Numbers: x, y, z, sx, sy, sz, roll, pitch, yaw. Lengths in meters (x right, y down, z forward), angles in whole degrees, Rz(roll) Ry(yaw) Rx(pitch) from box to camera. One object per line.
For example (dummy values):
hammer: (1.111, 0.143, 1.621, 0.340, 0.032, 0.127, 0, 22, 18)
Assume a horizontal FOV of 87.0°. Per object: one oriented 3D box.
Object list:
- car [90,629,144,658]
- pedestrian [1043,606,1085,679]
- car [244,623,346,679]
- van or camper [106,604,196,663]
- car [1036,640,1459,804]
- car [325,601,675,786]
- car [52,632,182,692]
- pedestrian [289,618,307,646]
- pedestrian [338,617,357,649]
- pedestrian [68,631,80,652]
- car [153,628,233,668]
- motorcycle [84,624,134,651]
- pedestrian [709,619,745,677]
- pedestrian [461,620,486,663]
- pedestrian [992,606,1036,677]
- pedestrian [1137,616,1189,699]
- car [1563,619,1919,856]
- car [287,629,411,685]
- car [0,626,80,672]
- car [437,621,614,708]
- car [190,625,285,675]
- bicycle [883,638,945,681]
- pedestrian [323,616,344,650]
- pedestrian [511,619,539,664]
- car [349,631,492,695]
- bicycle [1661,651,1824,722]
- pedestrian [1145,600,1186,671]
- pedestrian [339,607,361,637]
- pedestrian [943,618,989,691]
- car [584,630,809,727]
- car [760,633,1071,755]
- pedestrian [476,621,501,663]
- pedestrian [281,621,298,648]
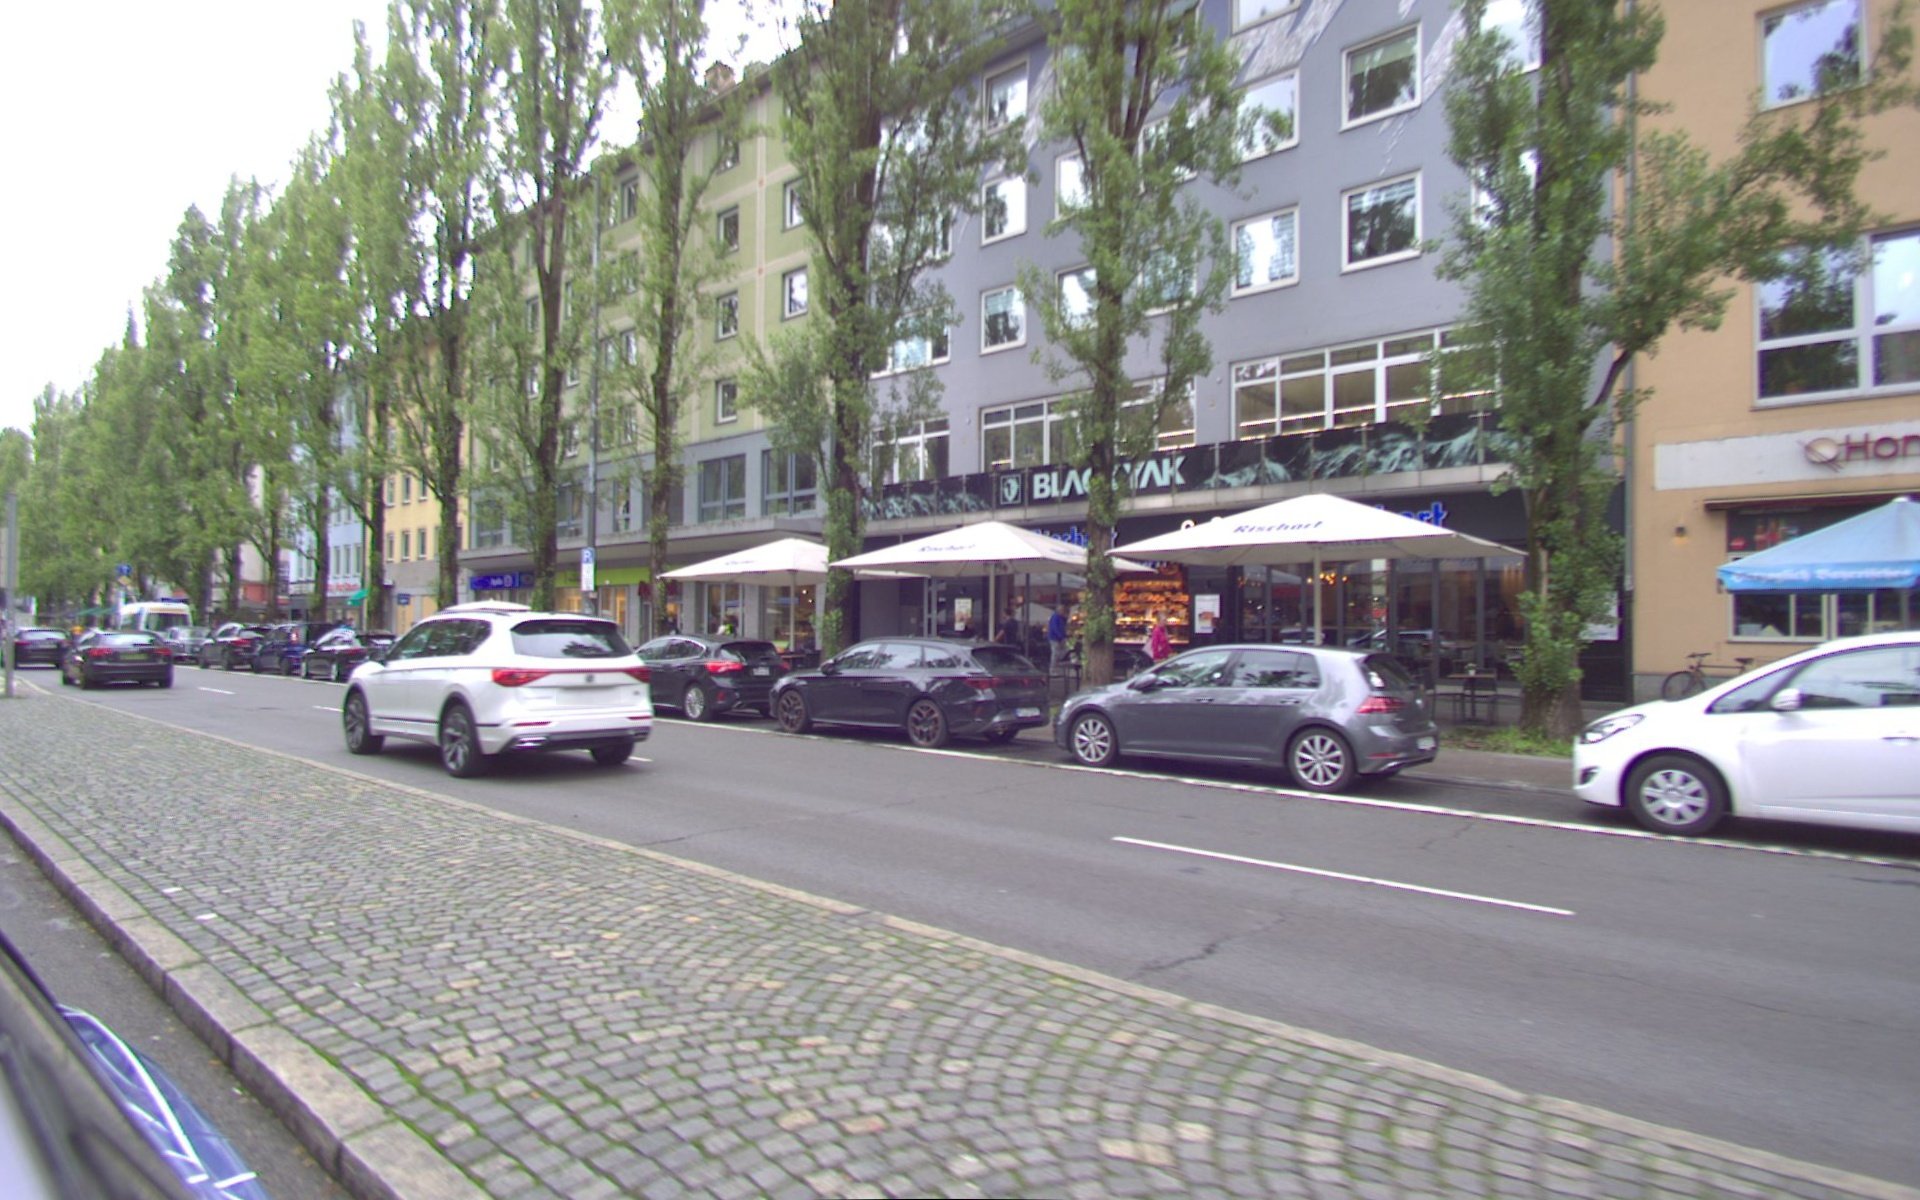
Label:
car: (-42.621, 2.156, 51.139, 3.760, 1.422, 1.539, -2, -2, 42)
pedestrian: (2.587, 1.042, 25.073, 0.755, 1.768, 0.733, -2, -3, 41)
car: (-21.716, 1.660, 33.013, 3.767, 1.699, 1.601, -1, -4, 39)
van or camper: (-37.367, 1.539, 46.676, 6.641, 2.570, 2.103, -2, -2, 42)
car: (2.950, 1.170, 10.958, 4.184, 1.392, 1.478, -1, -3, 41)
car: (-5.269, 0.924, 11.284, 4.574, 1.648, 1.824, -2, -4, 42)
car: (-21.034, 1.507, 25.202, 4.174, 1.372, 1.817, -1, -4, 41)
pedestrian: (-35.257, 1.698, 53.887, 0.550, 1.449, 0.641, -1, -2, 39)
pedestrian: (-32.581, 1.756, 53.820, 0.723, 1.717, 0.632, -2, -3, 41)
pedestrian: (-65.910, 3.086, 75.270, 0.600, 1.601, 0.552, 2, -3, -38)
car: (-31.945, 1.993, 42.121, 4.257, 1.541, 1.686, -1, -3, 39)
motorcycle: (-46.900, 2.066, 55.811, 0.569, 1.432, 2.000, -1, -2, 34)
pedestrian: (-7.324, 1.497, 31.831, 0.755, 1.768, 0.810, -2, -2, 41)
pedestrian: (-20.512, 1.741, 42.681, 0.715, 1.808, 0.739, -2, -2, 41)
pedestrian: (1.296, 0.984, 24.272, 0.756, 1.653, 0.732, -2, -3, 43)
pedestrian: (4.042, 1.131, 20.146, 0.756, 1.614, 0.732, -2, -3, 43)
car: (6.997, 0.966, 7.518, 4.094, 1.595, 1.685, -1, -3, 42)
car: (-17.592, 1.580, 29.055, 4.583, 1.457, 1.685, -1, -2, 41)
car: (-32.203, 1.691, 35.293, 4.049, 1.476, 1.738, -1, -4, 42)
car: (-9.513, 1.331, 21.982, 4.585, 1.693, 1.761, -1, -3, 42)
car: (-25.823, 1.763, 36.116, 4.501, 1.645, 1.685, -1, -3, 41)
bicycle: (-1.245, 1.589, 27.322, 1.575, 1.105, 0.612, -1, -2, 30)
pedestrian: (-32.936, 1.738, 53.176, 0.723, 1.779, 0.723, -2, -2, 40)
pedestrian: (-16.380, 1.544, 38.074, 0.711, 1.663, 0.714, -2, -3, 41)
car: (-13.756, 1.553, 25.701, 4.397, 1.428, 1.641, -1, -3, 40)
bicycle: (12.074, 1.309, 15.667, 1.956, 1.010, 0.437, -2, -2, 43)
pedestrian: (5.411, 0.935, 26.672, 0.743, 1.818, 0.772, -2, -3, 43)
pedestrian: (-29.365, 1.057, 48.735, 0.550, 1.449, 0.759, -1, -2, 36)
pedestrian: (0.133, 1.212, 22.783, 0.742, 1.614, 0.746, -2, -2, 40)
car: (-4.752, 1.299, 17.916, 4.368, 1.477, 1.659, -1, -3, 41)
car: (-0.745, 1.222, 14.324, 4.431, 1.423, 1.685, -1, -3, 40)
pedestrian: (-20.116, 1.783, 43.156, 0.715, 1.808, 0.739, -2, -2, 41)
pedestrian: (-41.701, 2.153, 62.967, 0.705, 1.663, 0.714, -2, -3, 41)
